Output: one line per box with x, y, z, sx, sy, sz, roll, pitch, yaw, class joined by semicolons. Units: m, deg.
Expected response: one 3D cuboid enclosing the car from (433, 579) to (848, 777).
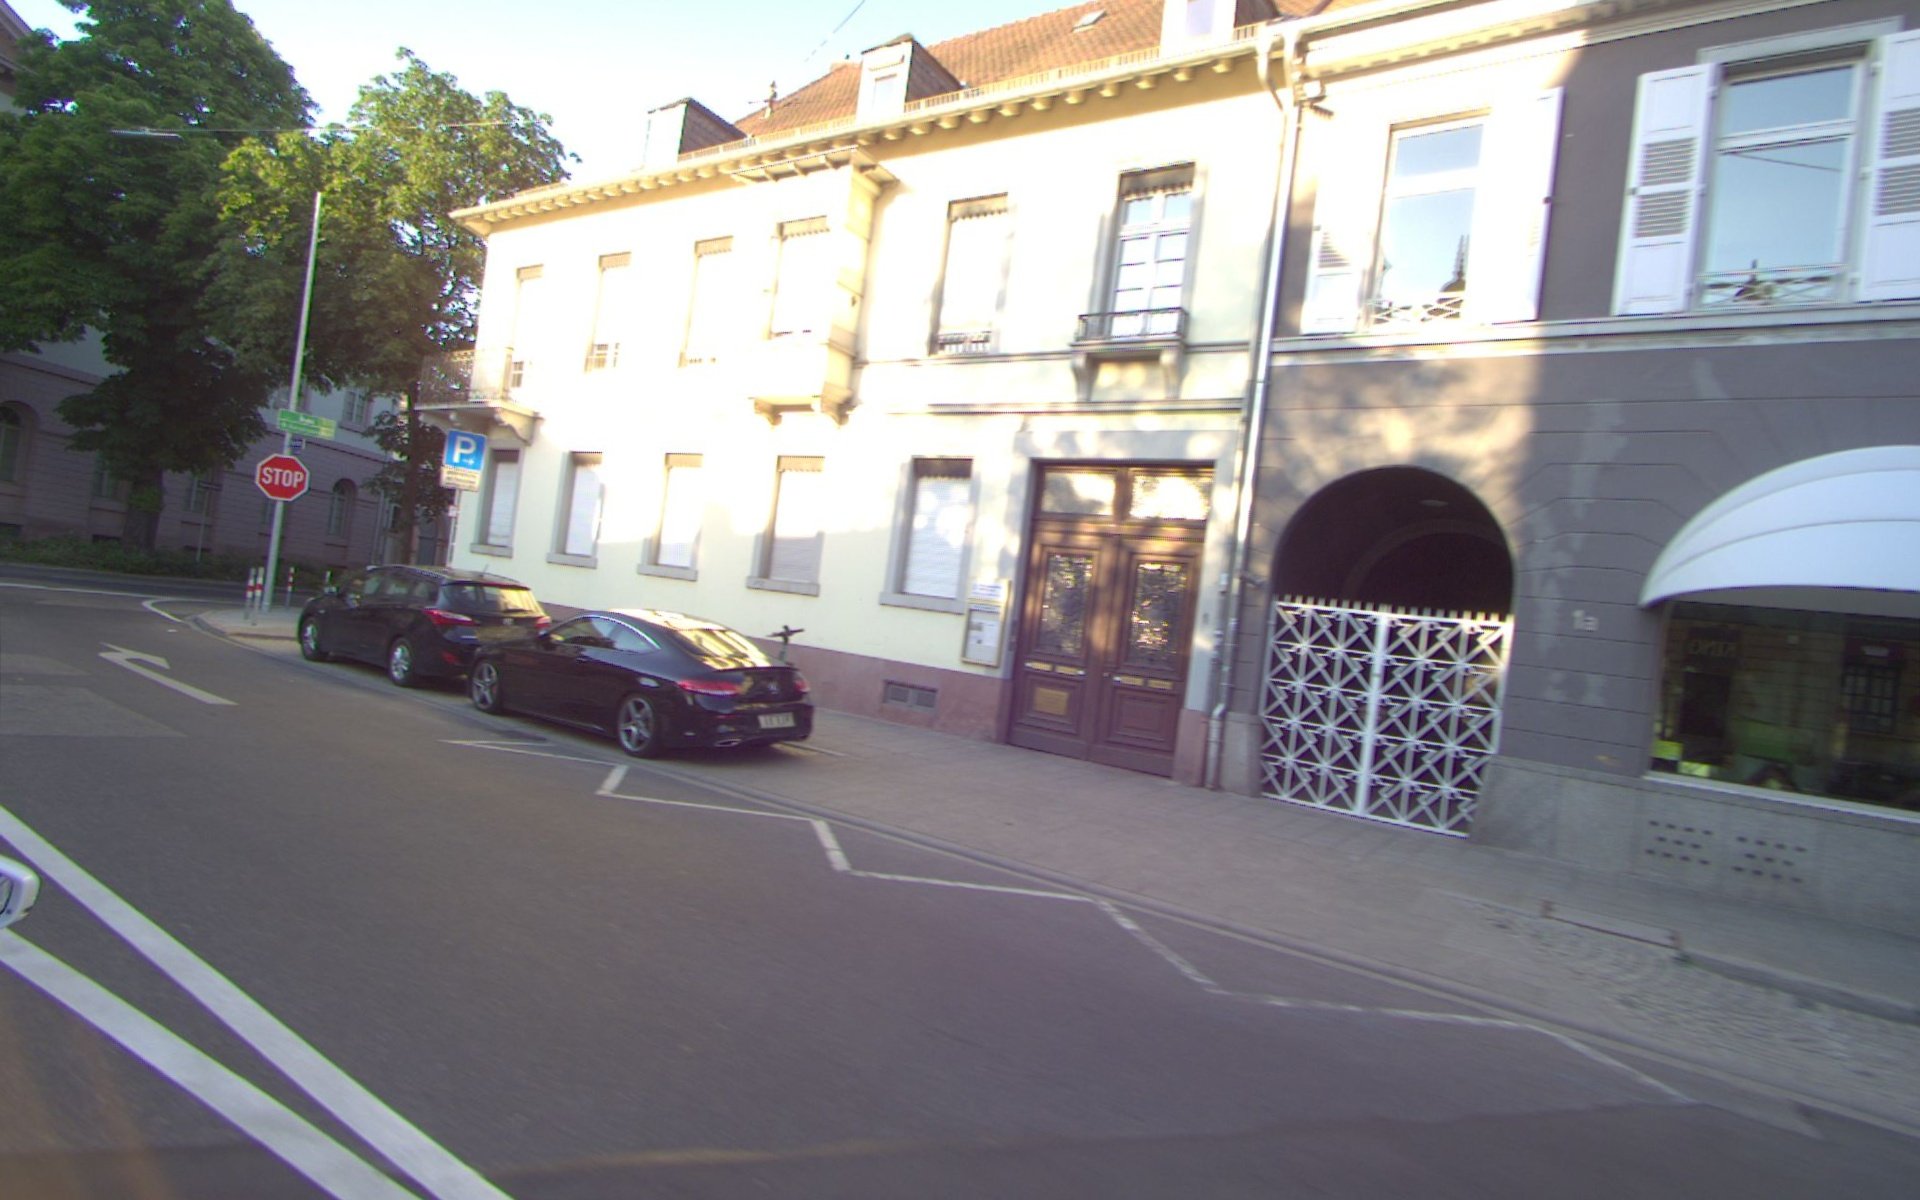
-3.667;0.768;11.084;4.783;1.410;1.775;6;-3;37;car

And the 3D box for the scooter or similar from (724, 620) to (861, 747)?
-1.994;0.945;11.806;0.600;1.249;1.747;4;1;-45;scooter or similar

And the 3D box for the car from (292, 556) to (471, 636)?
-16.060;-0.088;28.003;3.924;1.634;1.831;8;-1;11;car

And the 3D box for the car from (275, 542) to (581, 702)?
-7.389;0.262;13.815;4.361;1.559;1.804;7;-3;35;car
